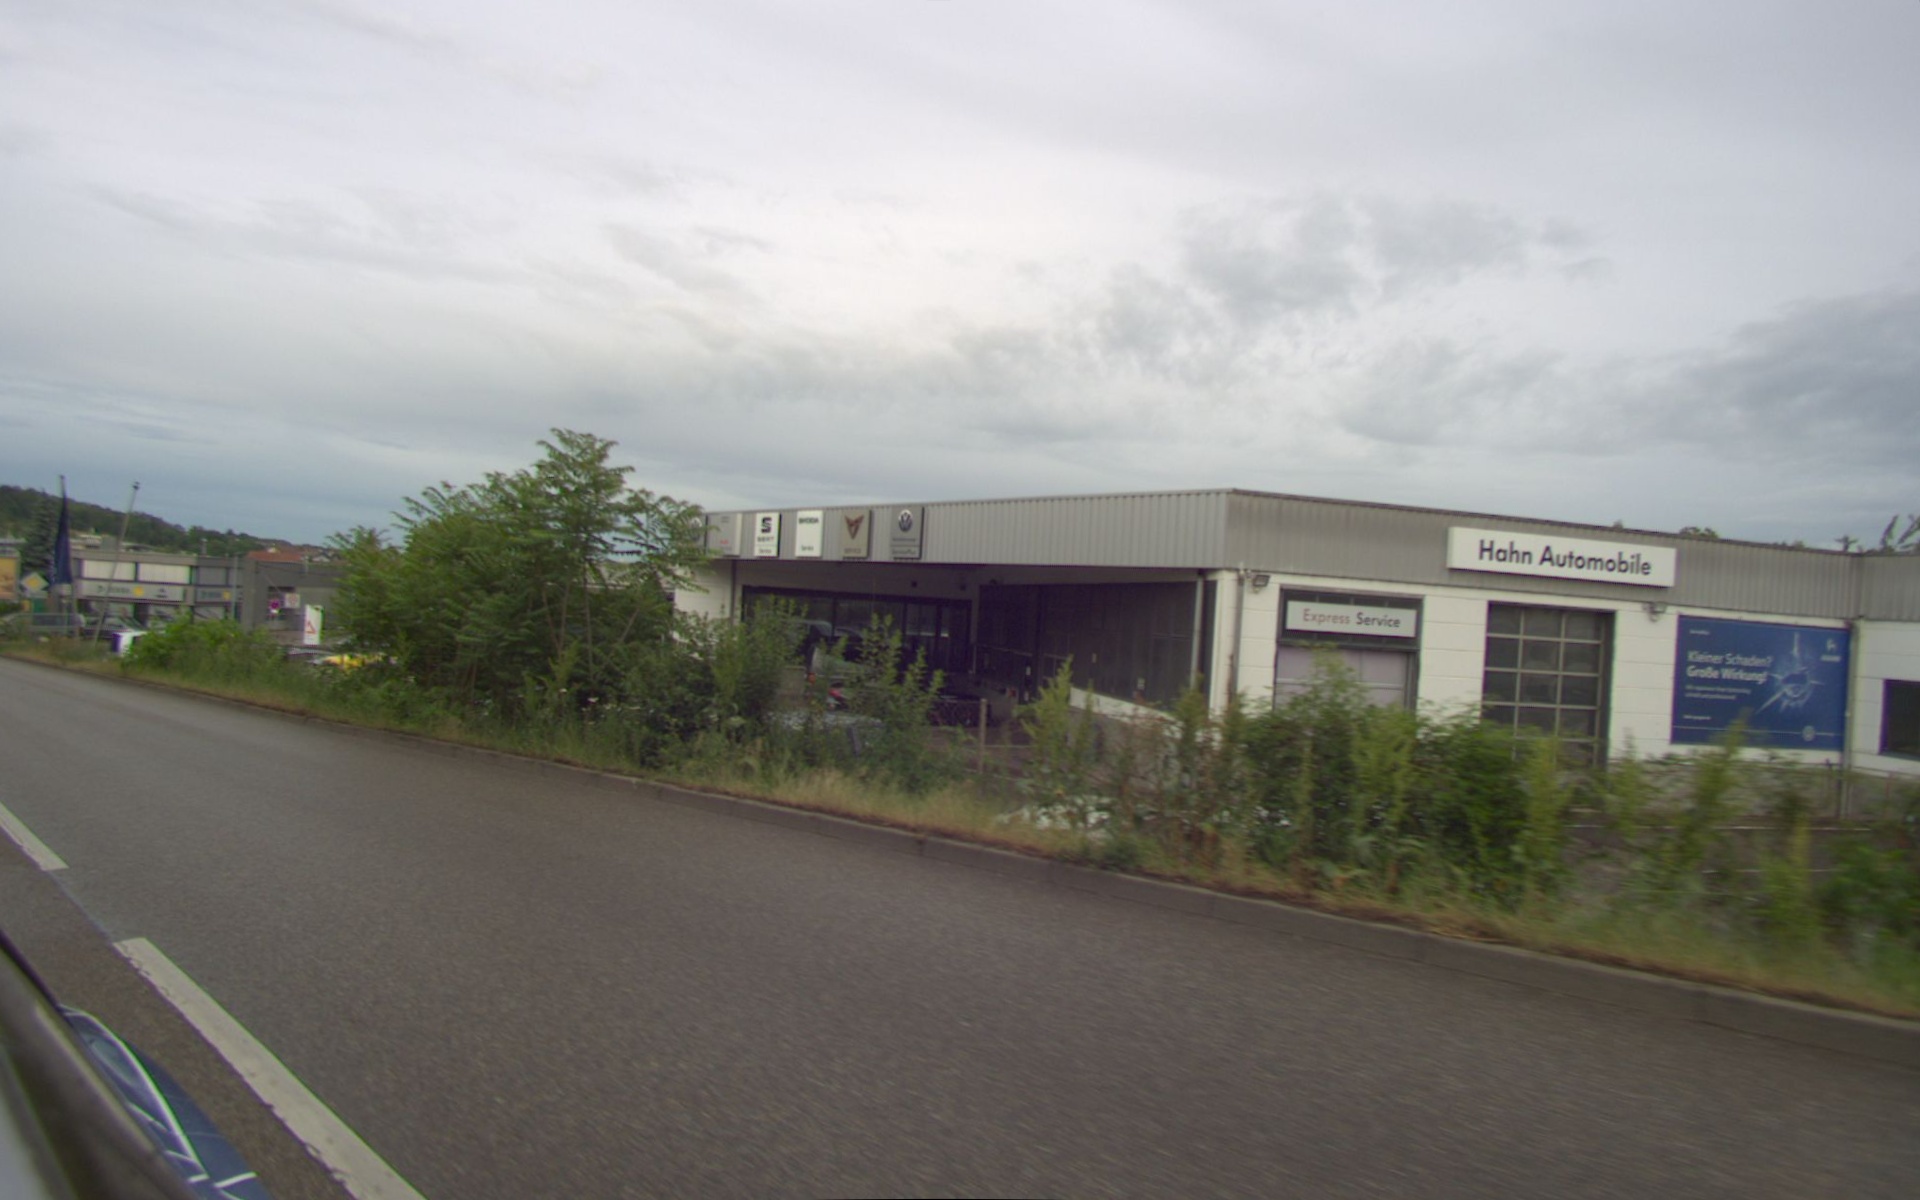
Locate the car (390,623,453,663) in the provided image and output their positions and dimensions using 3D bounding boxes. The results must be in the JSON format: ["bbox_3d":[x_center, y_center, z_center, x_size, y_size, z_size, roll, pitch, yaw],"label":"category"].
[{"bbox_3d":[-26.737,2.119,50.199,4.251,1.814,1.384,0,-3,43],"label":"car"}]

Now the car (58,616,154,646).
[{"bbox_3d":[-58.550,2.123,69.446,4.803,2.002,2.002,0,-1,-4],"label":"car"}]

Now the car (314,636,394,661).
[{"bbox_3d":[-37.701,3.033,63.088,4.034,1.439,1.896,2,-3,-25],"label":"car"}]

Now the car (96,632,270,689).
[{"bbox_3d":[-26.617,2.080,34.782,1.932,1.811,4.369,-1,-3,39],"label":"car"}]

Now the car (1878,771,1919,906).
[{"bbox_3d":[15.637,3.514,14.089,4.565,1.817,1.872,6,-6,-12],"label":"car"}]

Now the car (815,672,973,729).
[{"bbox_3d":[-1.845,2.743,27.811,3.954,1.427,1.959,2,-3,-16],"label":"car"}]

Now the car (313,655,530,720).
[{"bbox_3d":[-12.231,1.955,23.130,4.015,1.301,1.806,4,-4,-44],"label":"car"}]

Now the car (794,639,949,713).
[{"bbox_3d":[-2.787,2.345,31.456,4.410,1.975,1.994,4,-3,-14],"label":"car"}]

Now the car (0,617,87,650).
[{"bbox_3d":[-55.696,2.012,60.462,1.816,1.885,5.029,0,-3,31],"label":"car"}]
